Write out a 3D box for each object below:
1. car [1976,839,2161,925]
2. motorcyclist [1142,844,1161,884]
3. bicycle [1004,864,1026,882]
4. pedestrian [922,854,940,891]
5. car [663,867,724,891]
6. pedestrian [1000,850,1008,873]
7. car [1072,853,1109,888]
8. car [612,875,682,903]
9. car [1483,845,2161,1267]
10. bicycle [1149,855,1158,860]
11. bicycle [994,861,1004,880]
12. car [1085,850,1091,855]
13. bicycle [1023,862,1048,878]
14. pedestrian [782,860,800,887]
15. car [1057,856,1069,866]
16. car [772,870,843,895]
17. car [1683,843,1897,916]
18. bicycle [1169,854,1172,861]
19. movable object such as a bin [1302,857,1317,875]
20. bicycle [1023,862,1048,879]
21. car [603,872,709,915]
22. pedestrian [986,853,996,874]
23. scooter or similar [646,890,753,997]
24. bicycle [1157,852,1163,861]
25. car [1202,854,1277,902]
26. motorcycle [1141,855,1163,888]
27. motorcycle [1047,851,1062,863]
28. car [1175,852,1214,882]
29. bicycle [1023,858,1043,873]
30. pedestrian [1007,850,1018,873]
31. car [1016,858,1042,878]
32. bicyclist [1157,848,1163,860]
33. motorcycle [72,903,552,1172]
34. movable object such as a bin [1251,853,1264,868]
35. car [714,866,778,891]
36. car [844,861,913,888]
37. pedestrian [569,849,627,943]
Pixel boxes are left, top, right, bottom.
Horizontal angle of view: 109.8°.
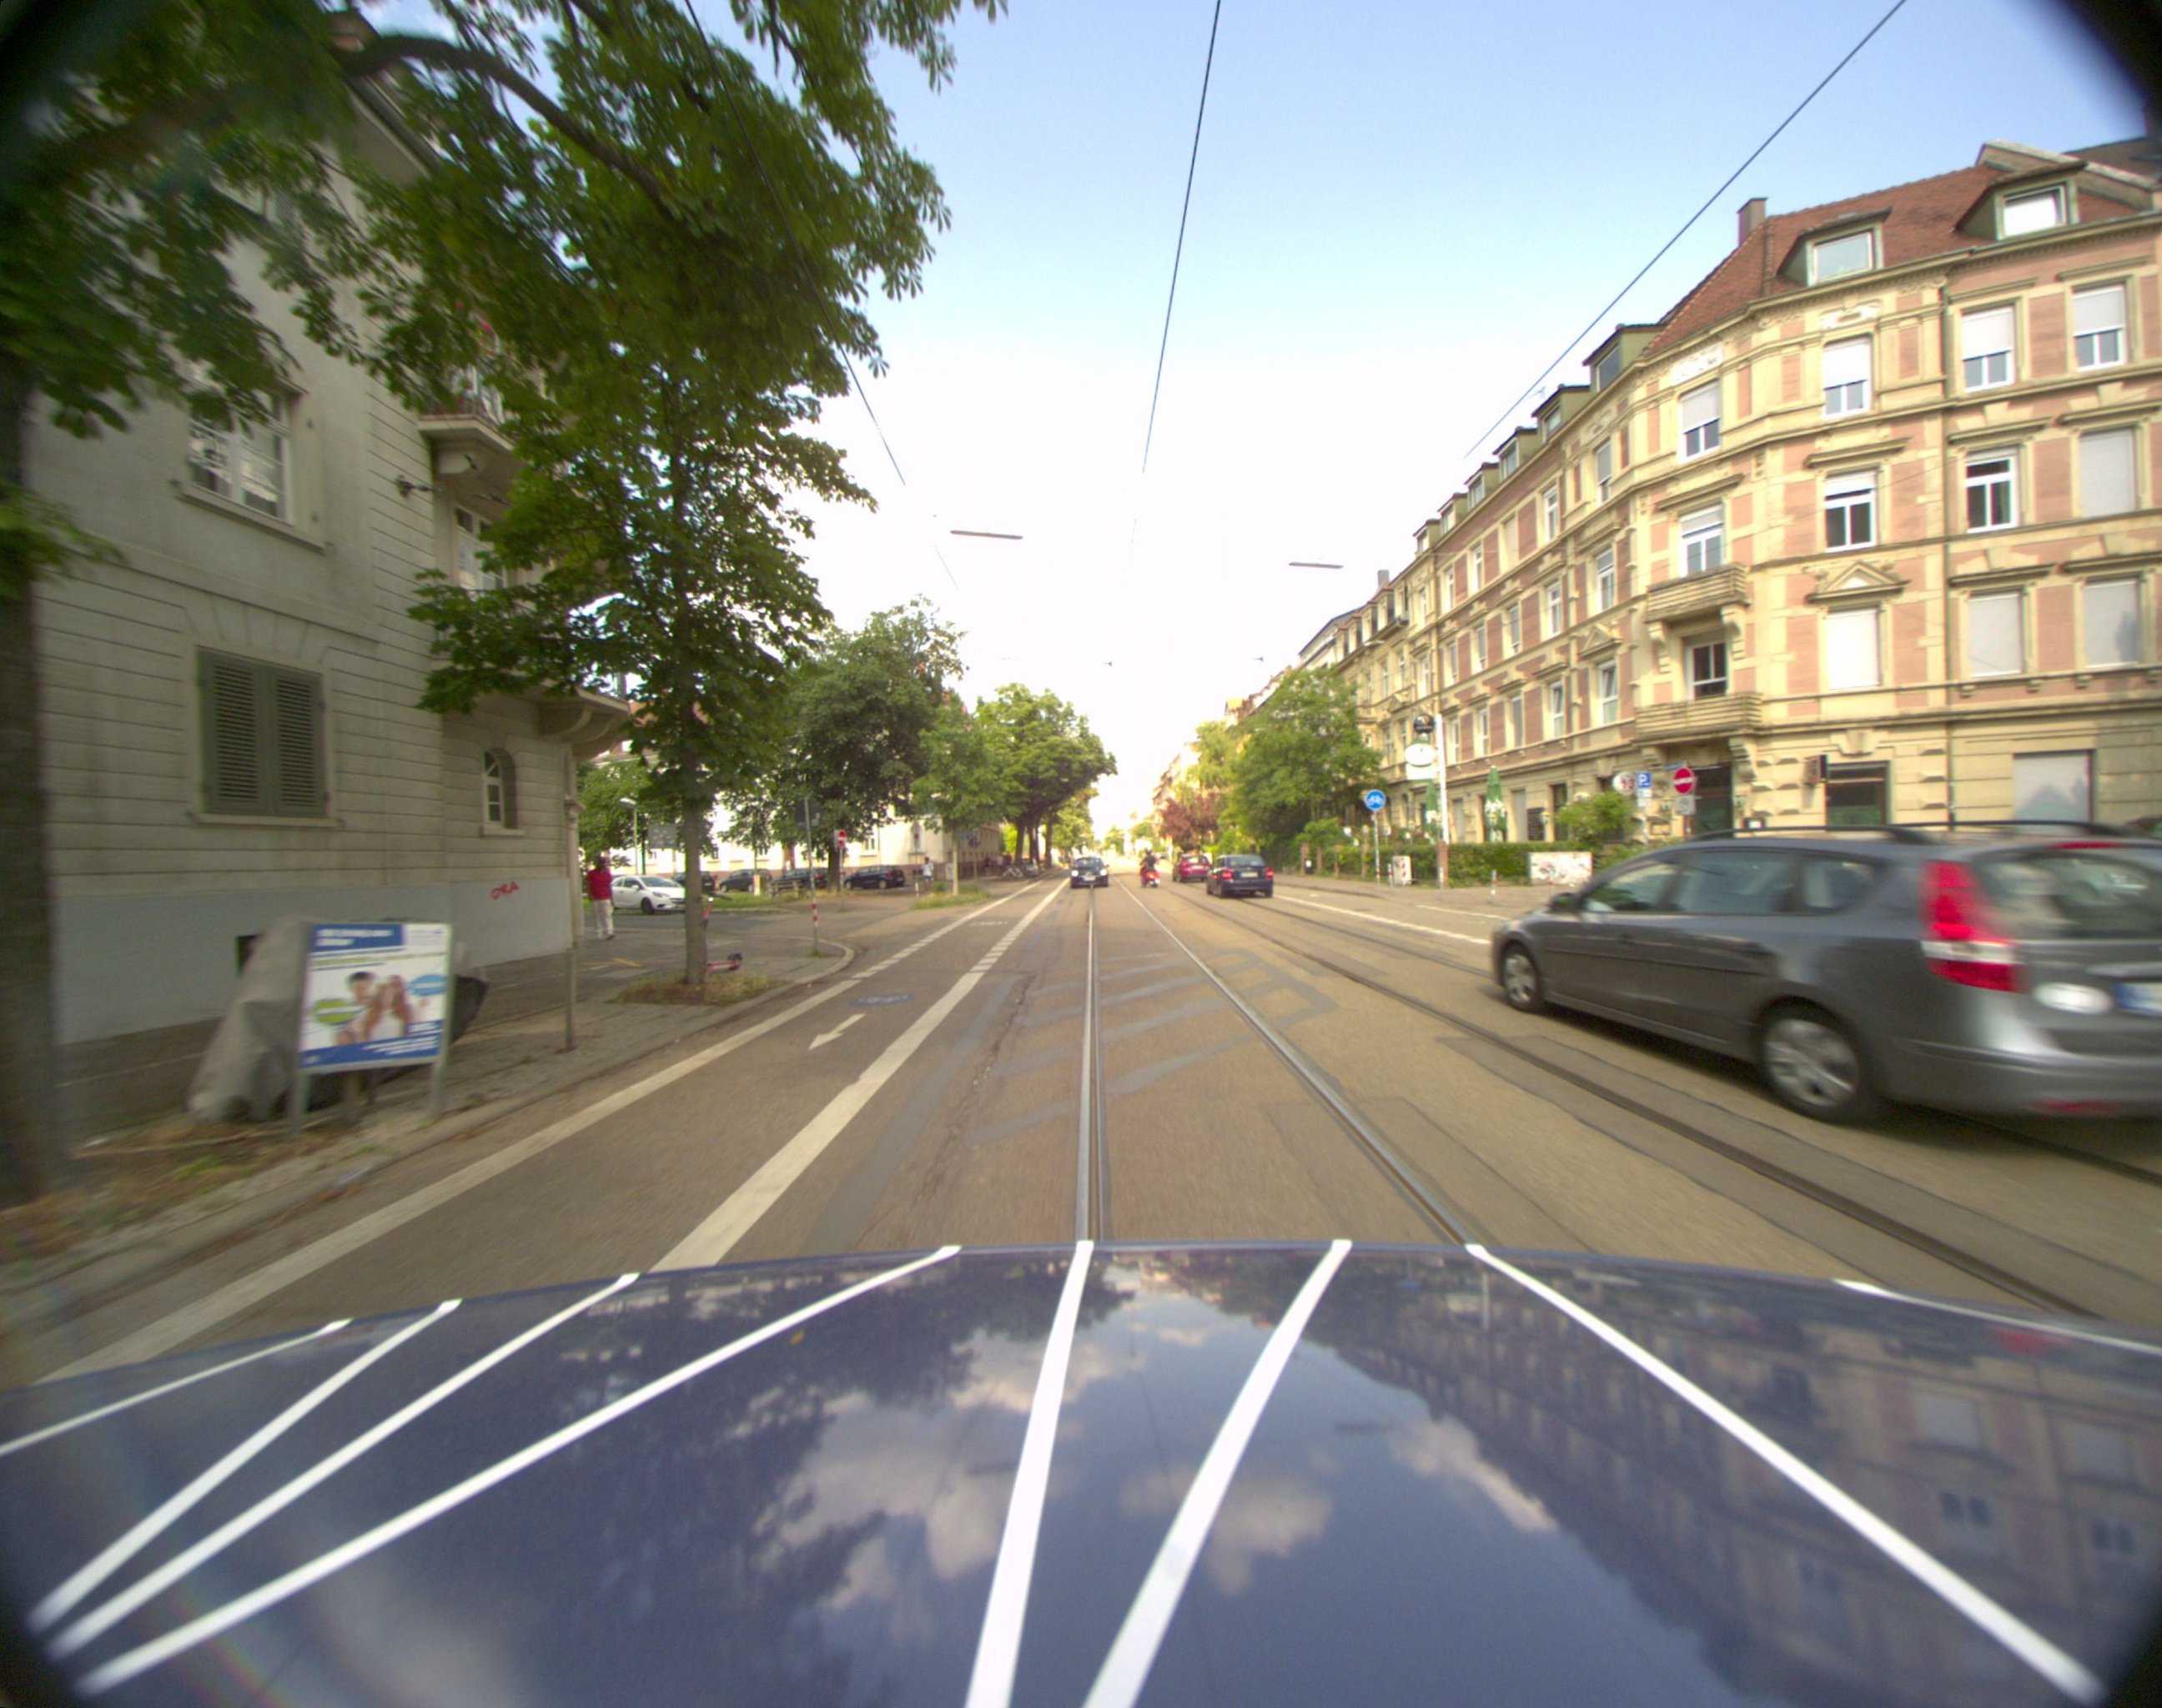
[{"bbox_3d":[20.126,0.466,14.837,1.889,1.392,3.773,-2,1,22],"label":"car"},{"bbox_3d":[3.092,0.443,33.383,0.741,1.704,0.921,-2,1,0],"label":"motorcyclist"},{"bbox_3d":[-4.083,1.189,47.221,1.271,1.060,0.478,-2,1,0],"label":"bicycle"},{"bbox_3d":[-7.430,0.903,37.663,0.619,1.823,1.030,-2,1,3],"label":"pedestrian"},{"bbox_3d":[-26.905,1.753,52.758,3.922,1.503,1.734,-2,1,28],"label":"car"},{"bbox_3d":[-6.331,0.613,62.269,0.506,1.842,0.687,-2,1,1],"label":"pedestrian"},{"bbox_3d":[0.491,0.741,37.167,1.693,1.568,4.157,-2,0,1],"label":"car"},{"bbox_3d":[-26.310,2.116,46.011,3.922,1.503,1.733,-2,4,28],"label":"car"},{"bbox_3d":[4.564,0.726,4.904,1.731,1.531,4.277,-1,0,1],"label":"car"},{"bbox_3d":[13.473,0.631,141.094,1.750,0.936,0.484,0,1,25],"label":"bicycle"},{"bbox_3d":[-5.079,0.999,47.051,0.586,1.151,1.835,-2,0,-6],"label":"bicycle"},{"bbox_3d":[2.153,-0.493,220.849,1.693,1.380,4.000,-2,0,0],"label":"car"},{"bbox_3d":[-3.115,1.082,52.188,1.650,1.064,0.348,-2,1,5],"label":"bicycle"},{"bbox_3d":[-20.039,1.358,52.463,0.729,1.823,0.829,-2,1,31],"label":"pedestrian"},{"bbox_3d":[-2.606,0.968,111.918,1.693,1.380,4.000,-2,0,0],"label":"car"},{"bbox_3d":[-17.031,1.775,47.265,4.246,1.443,1.734,-2,1,28],"label":"car"},{"bbox_3d":[15.395,0.482,16.890,1.889,1.356,4.970,-2,0,23],"label":"car"},{"bbox_3d":[12.746,0.503,108.192,0.400,0.935,1.473,0,-2,3],"label":"bicycle"},{"bbox_3d":[11.825,0.604,39.357,0.580,0.919,0.641,-2,1,1],"label":"movable object such as a bin"},{"bbox_3d":[-3.175,1.141,52.551,1.650,1.064,0.348,-2,1,5],"label":"bicycle"},{"bbox_3d":[-15.796,1.462,28.227,3.610,1.489,1.734,-2,-2,28],"label":"car"},{"bbox_3d":[-7.289,0.759,61.427,0.582,1.630,0.976,-2,1,1],"label":"pedestrian"},{"bbox_3d":[-5.186,1.170,10.450,0.533,1.244,1.720,-1,1,2],"label":"scooter or similar"},{"bbox_3d":[9.137,0.289,87.709,0.570,0.984,1.918,-2,0,3],"label":"bicycle"},{"bbox_3d":[5.163,0.726,25.232,1.632,1.399,4.129,-2,0,1],"label":"car"},{"bbox_3d":[3.103,0.755,33.429,0.741,1.352,2.088,-2,0,0],"label":"motorcycle"},{"bbox_3d":[-3.411,0.370,97.168,0.812,1.485,2.065,-2,1,-43],"label":"motorcycle"},{"bbox_3d":[5.796,0.646,39.118,1.598,1.432,3.936,0,0,3],"label":"car"},{"bbox_3d":[-3.879,0.929,61.535,1.490,1.213,0.518,-2,1,8],"label":"bicycle"},{"bbox_3d":[-5.613,0.632,62.277,0.755,1.878,0.886,-2,1,1],"label":"pedestrian"},{"bbox_3d":[-3.853,1.023,57.140,1.589,1.436,3.898,-2,0,1],"label":"car"},{"bbox_3d":[9.126,-0.005,87.683,0.566,1.417,0.942,-2,1,3],"label":"bicyclist"},{"bbox_3d":[-5.149,1.107,5.466,0.859,1.314,2.445,-2,0,2],"label":"motorcycle"},{"bbox_3d":[13.237,0.475,56.928,0.774,1.101,0.733,-2,1,1],"label":"movable object such as a bin"},{"bbox_3d":[-22.138,1.609,50.200,3.922,1.503,1.734,-2,1,28],"label":"car"},{"bbox_3d":[-11.917,1.204,44.693,3.566,1.443,1.734,-2,1,24],"label":"car"},{"bbox_3d":[-10.304,0.905,16.202,0.904,1.924,0.975,3,-4,-37],"label":"pedestrian"}]
